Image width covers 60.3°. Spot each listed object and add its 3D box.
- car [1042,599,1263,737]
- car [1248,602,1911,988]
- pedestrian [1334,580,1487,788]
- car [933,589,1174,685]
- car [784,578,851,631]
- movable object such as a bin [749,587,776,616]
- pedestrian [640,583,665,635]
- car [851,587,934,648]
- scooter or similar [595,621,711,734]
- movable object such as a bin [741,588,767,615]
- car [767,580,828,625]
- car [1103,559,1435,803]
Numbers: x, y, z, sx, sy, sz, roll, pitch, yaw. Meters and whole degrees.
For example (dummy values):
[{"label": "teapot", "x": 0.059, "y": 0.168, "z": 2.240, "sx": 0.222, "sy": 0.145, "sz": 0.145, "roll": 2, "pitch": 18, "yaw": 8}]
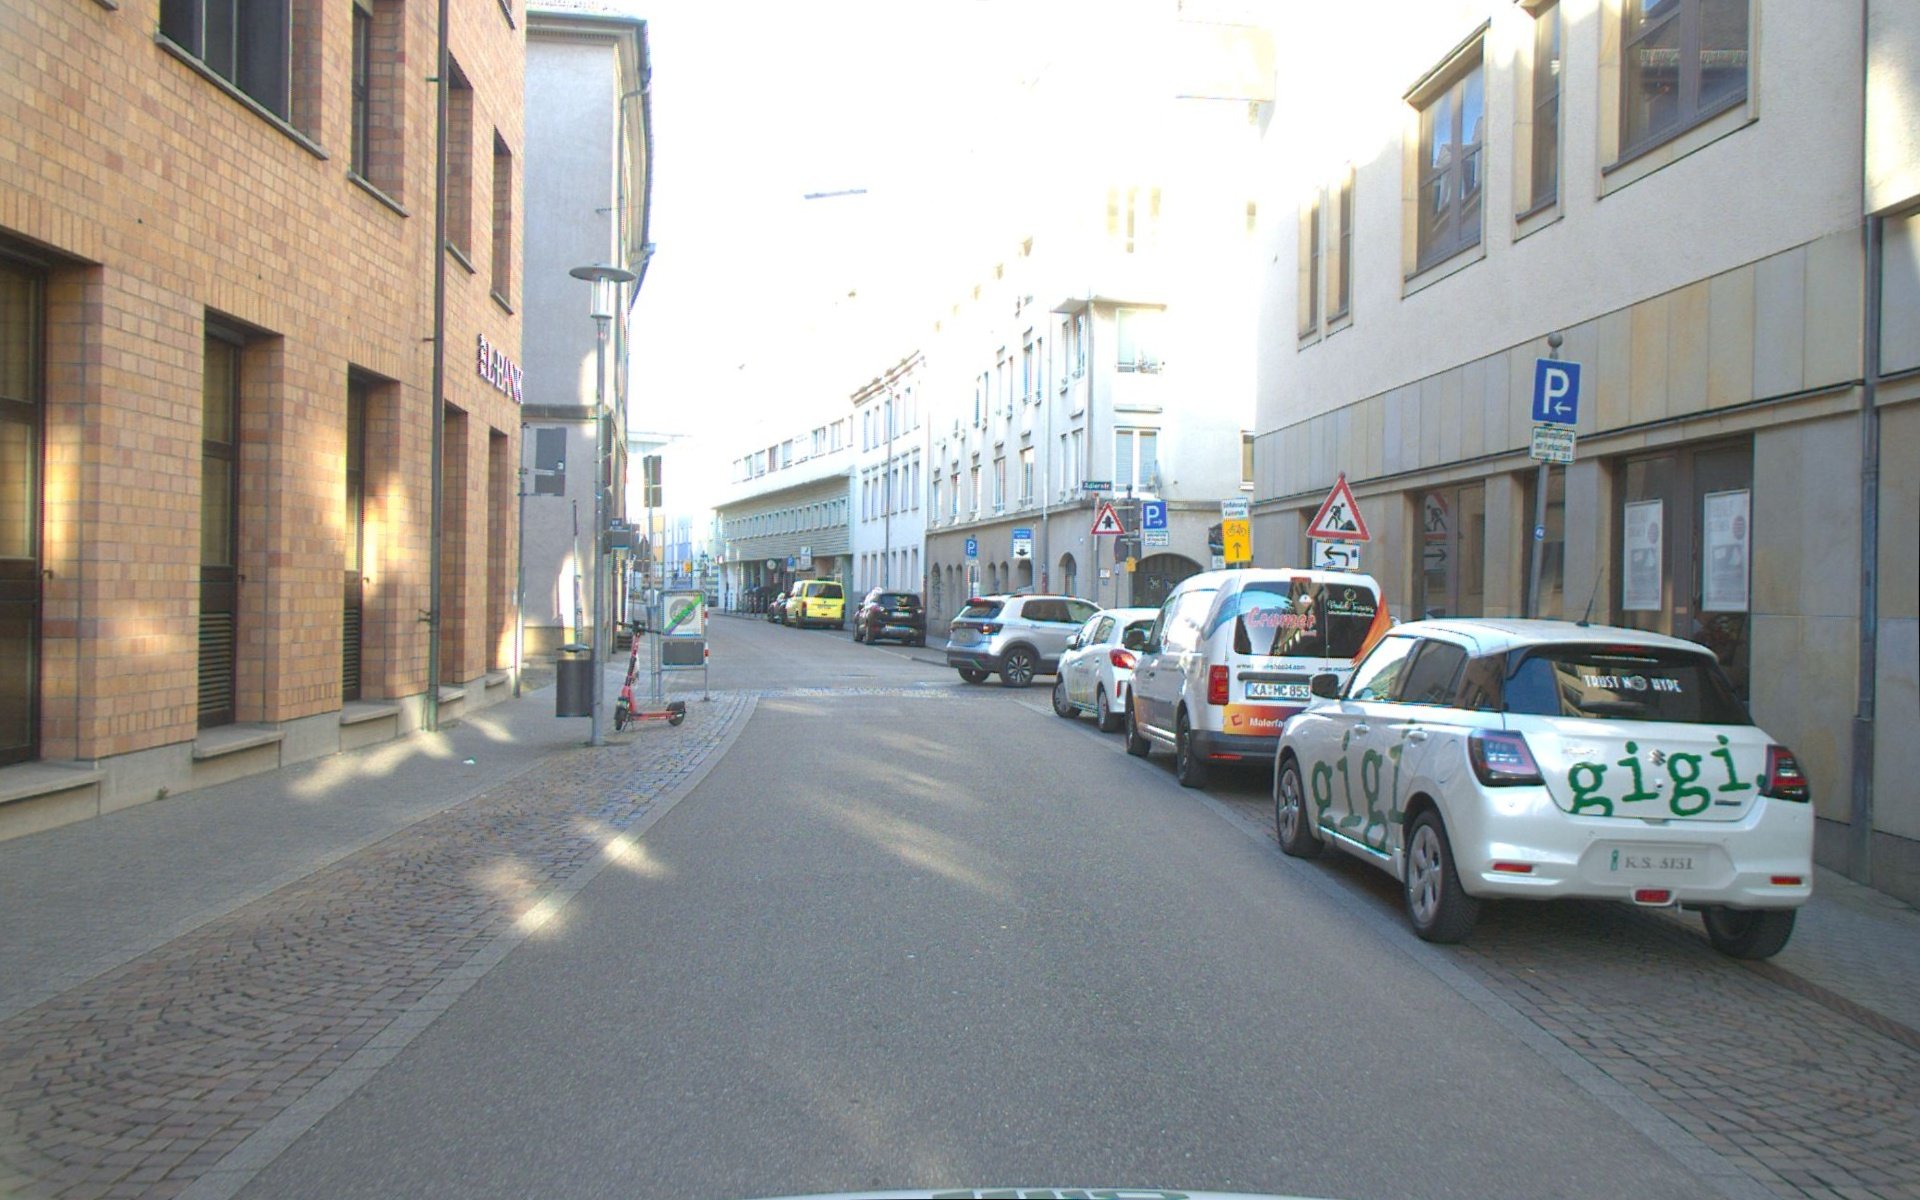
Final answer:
[{"label": "car", "x": 2.350, "y": 0.801, "z": 21.287, "sx": 1.853, "sy": 1.545, "sz": 4.056, "roll": 1, "pitch": 0, "yaw": -8}, {"label": "car", "x": 2.989, "y": 0.832, "z": 9.057, "sx": 1.804, "sy": 1.503, "sz": 4.165, "roll": 3, "pitch": 0, "yaw": -4}, {"label": "pedestrian", "x": 4.130, "y": 0.751, "z": 15.270, "sx": 1.021, "sy": 1.833, "sz": 1.198, "roll": 1, "pitch": -1, "yaw": -3}, {"label": "car", "x": 1.674, "y": 0.609, "z": 29.258, "sx": 3.945, "sy": 1.589, "sz": 1.824, "roll": 0, "pitch": 0, "yaw": -31}, {"label": "car", "x": -5.827, "y": 0.147, "z": 67.237, "sx": 2.019, "sy": 2.049, "sz": 4.158, "roll": 1, "pitch": 0, "yaw": -15}, {"label": "movable object such as a bin", "x": -10.881, "y": 0.071, "z": 91.175, "sx": 1.114, "sy": 1.585, "sz": 1.730, "roll": 1, "pitch": 0, "yaw": -19}, {"label": "pedestrian", "x": -10.381, "y": 0.294, "z": 55.860, "sx": 0.754, "sy": 1.754, "sz": 0.684, "roll": 1, "pitch": 0, "yaw": -17}, {"label": "car", "x": -2.124, "y": 0.512, "z": 50.985, "sx": 1.932, "sy": 1.721, "sz": 4.091, "roll": 2, "pitch": 0, "yaw": -11}, {"label": "scooter or similar", "x": -3.549, "y": 0.874, "z": 19.226, "sx": 0.684, "sy": 1.238, "sz": 1.356, "roll": 0, "pitch": 0, "yaw": 24}, {"label": "movable object such as a bin", "x": -11.550, "y": 0.076, "z": 92.837, "sx": 1.114, "sy": 1.505, "sz": 1.730, "roll": 1, "pitch": 0, "yaw": -19}, {"label": "car", "x": -7.216, "y": 0.099, "z": 72.941, "sx": 2.019, "sy": 1.905, "sz": 4.083, "roll": 1, "pitch": 0, "yaw": -15}, {"label": "car", "x": 2.612, "y": 0.620, "z": 15.348, "sx": 1.794, "sy": 1.822, "sz": 5.210, "roll": 2, "pitch": 0, "yaw": -3}]
